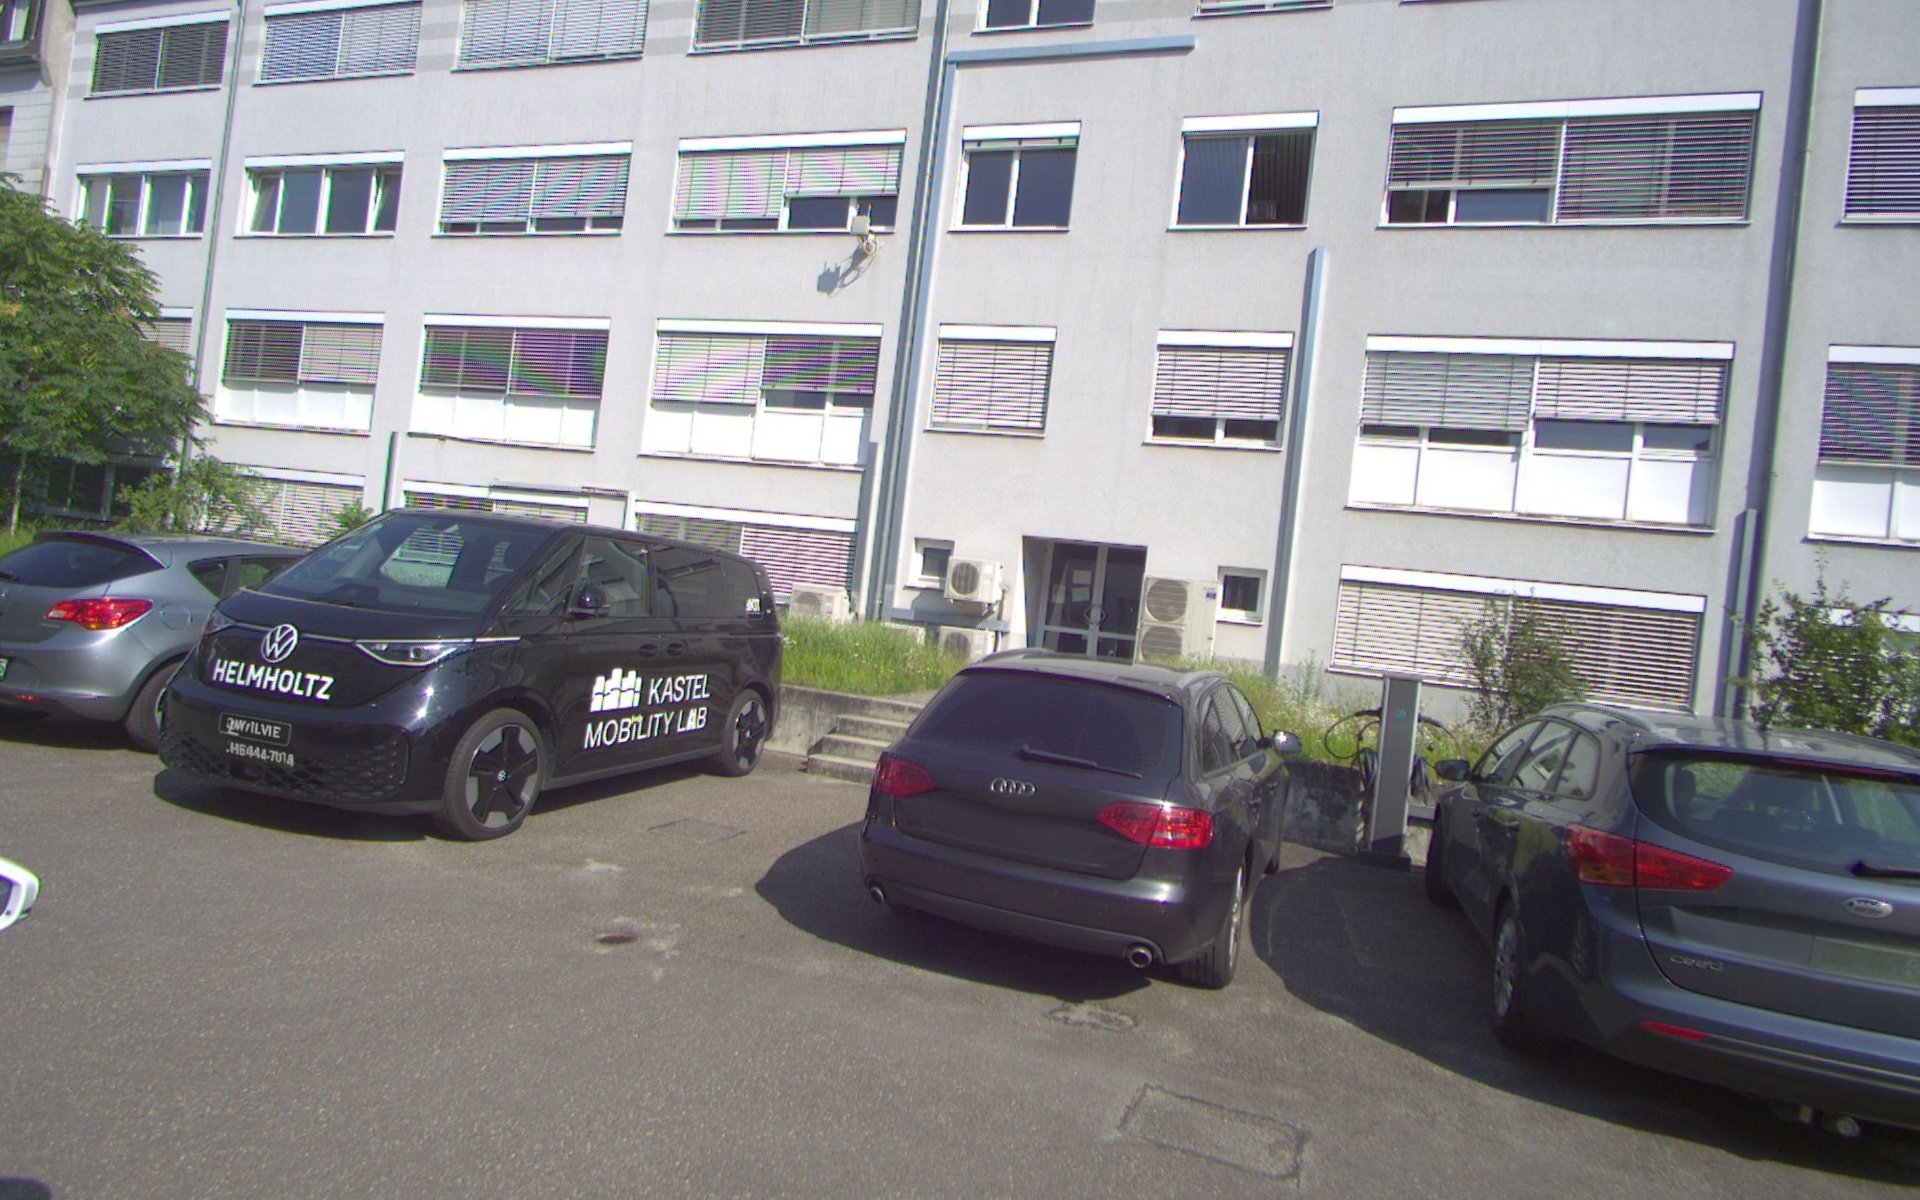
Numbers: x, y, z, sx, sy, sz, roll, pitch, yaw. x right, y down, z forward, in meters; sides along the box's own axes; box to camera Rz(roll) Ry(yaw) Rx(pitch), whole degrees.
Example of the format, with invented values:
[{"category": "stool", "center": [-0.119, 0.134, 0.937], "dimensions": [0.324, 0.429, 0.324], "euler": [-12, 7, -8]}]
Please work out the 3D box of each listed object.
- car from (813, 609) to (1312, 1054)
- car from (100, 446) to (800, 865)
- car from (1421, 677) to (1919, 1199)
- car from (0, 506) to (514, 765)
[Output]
[{"category": "car", "center": [1.013, 1.004, 5.971], "dimensions": [1.660, 1.454, 4.247], "euler": [7, -1, 23]}, {"category": "car", "center": [-3.003, 0.352, 7.191], "dimensions": [1.878, 1.881, 4.353], "euler": [7, -1, 15]}, {"category": "car", "center": [3.564, 1.266, 5.110], "dimensions": [1.710, 1.495, 4.062], "euler": [7, -1, 20]}, {"category": "car", "center": [-5.648, 0.258, 8.148], "dimensions": [1.631, 1.483, 3.913], "euler": [7, -1, 11]}]
